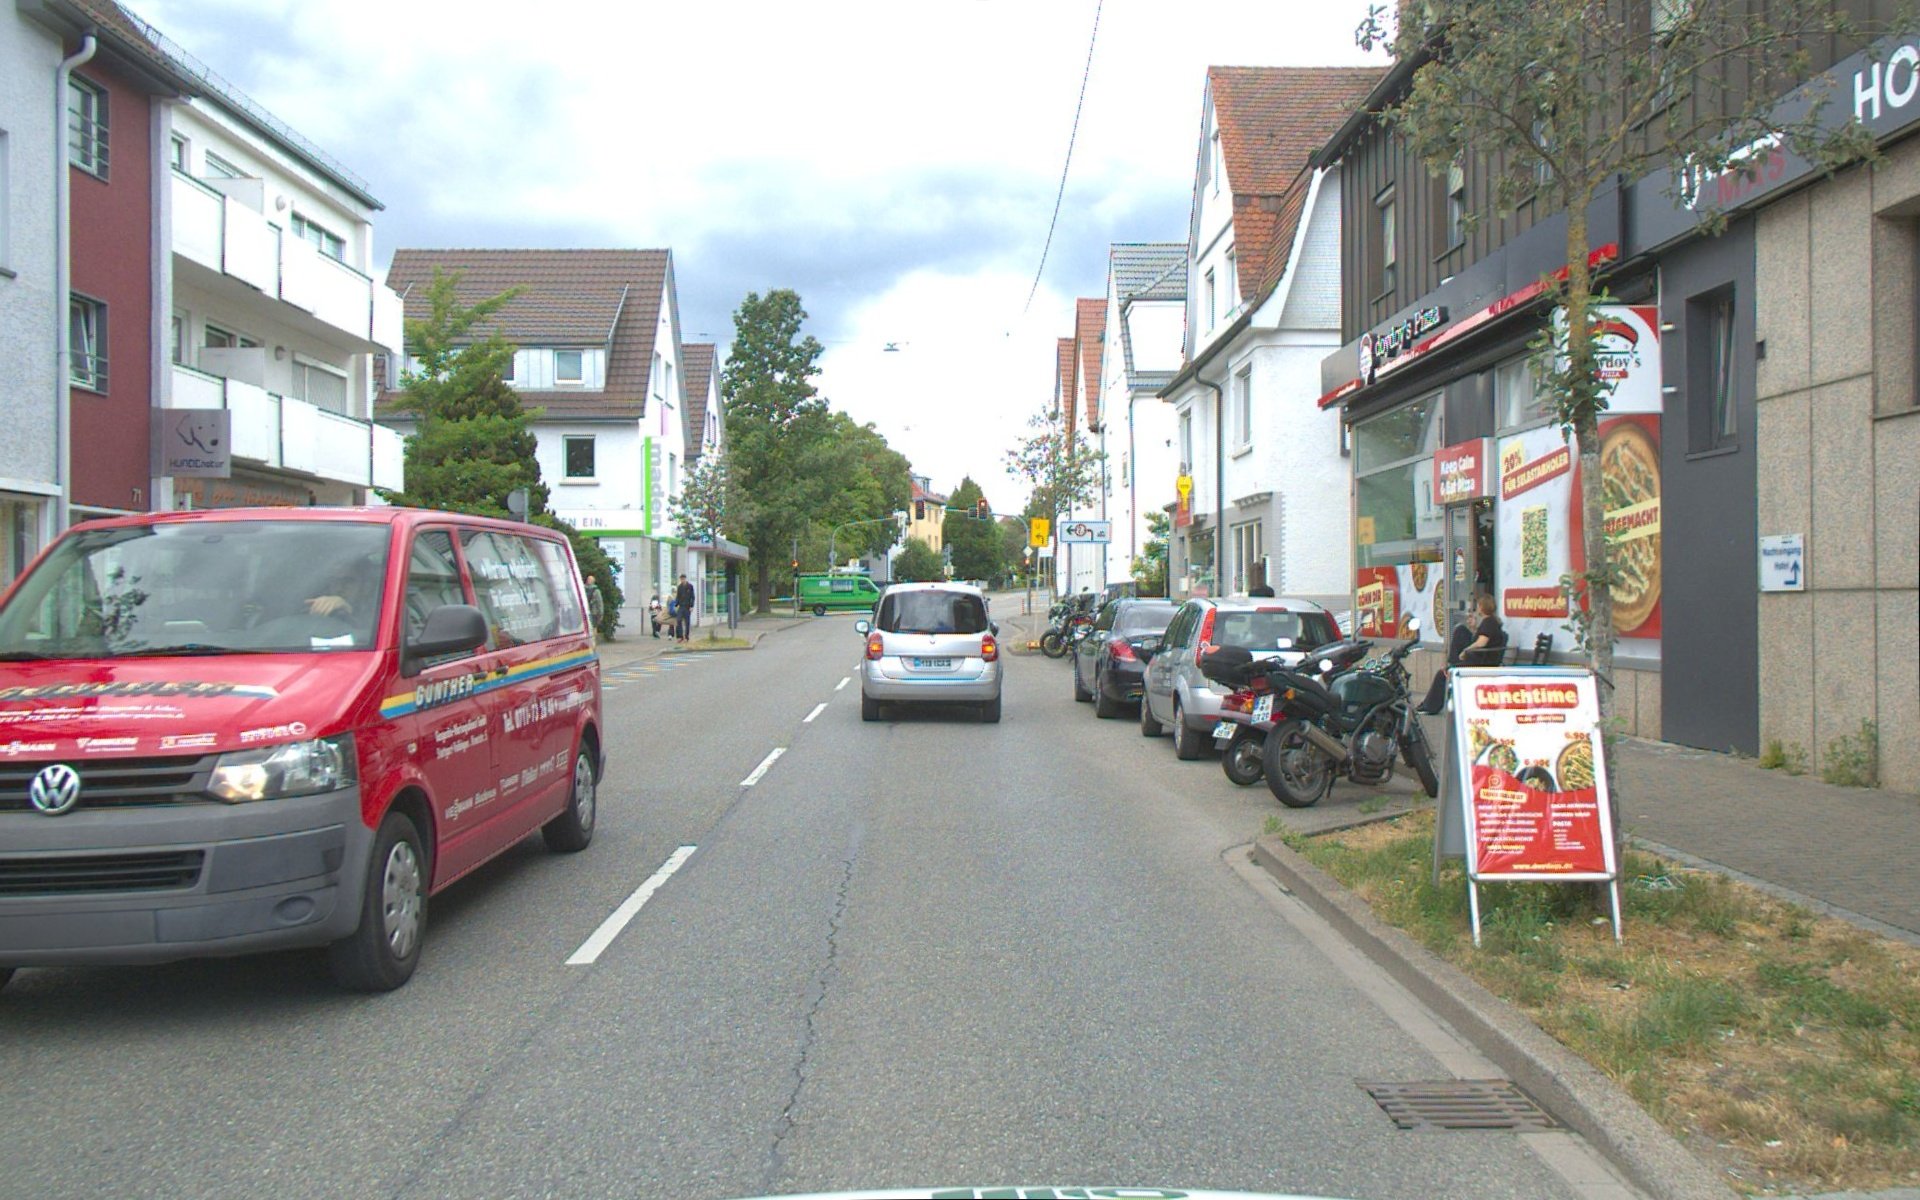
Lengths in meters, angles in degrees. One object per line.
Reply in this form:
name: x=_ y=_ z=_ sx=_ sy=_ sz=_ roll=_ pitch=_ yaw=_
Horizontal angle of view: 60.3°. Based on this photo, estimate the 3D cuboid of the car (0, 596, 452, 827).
car: x=-5.809 y=0.759 z=13.503 sx=1.909 sy=1.493 sz=4.515 roll=-3 pitch=0 yaw=-1

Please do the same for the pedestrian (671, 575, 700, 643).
pedestrian: x=-7.792 y=0.255 z=46.959 sx=0.702 sy=1.909 sz=0.695 roll=1 pitch=0 yaw=-1

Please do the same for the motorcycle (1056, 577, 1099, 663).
motorcycle: x=2.390 y=0.389 z=33.457 sx=0.683 sy=1.667 sz=2.411 roll=1 pitch=0 yaw=8

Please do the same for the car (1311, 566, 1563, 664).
car: x=8.287 y=0.257 z=28.937 sx=3.899 sy=1.593 sz=1.688 roll=1 pitch=0 yaw=-1

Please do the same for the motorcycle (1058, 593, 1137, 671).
motorcycle: x=2.664 y=0.595 z=31.762 sx=0.684 sy=1.434 sz=2.715 roll=0 pitch=0 yaw=23

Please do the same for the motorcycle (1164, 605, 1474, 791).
motorcycle: x=2.893 y=0.729 z=13.146 sx=2.680 sy=1.359 sz=0.692 roll=1 pitch=0 yaw=-32

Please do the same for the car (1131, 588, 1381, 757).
car: x=2.773 y=0.630 z=16.293 sx=1.666 sy=1.455 sz=3.889 roll=1 pitch=0 yaw=-1

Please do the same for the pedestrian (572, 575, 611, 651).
pedestrian: x=-8.938 y=0.313 z=40.147 sx=0.747 sy=1.822 sz=0.889 roll=1 pitch=0 yaw=-1

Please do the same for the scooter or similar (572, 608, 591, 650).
scooter or similar: x=-9.653 y=0.744 z=42.201 sx=0.366 sy=1.053 sz=0.559 roll=-1 pitch=0 yaw=-1

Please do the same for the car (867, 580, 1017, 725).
car: x=-0.212 y=0.583 z=20.450 sx=1.648 sy=1.593 sz=3.993 roll=1 pitch=0 yaw=0

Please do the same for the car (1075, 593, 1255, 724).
car: x=2.497 y=0.672 z=21.099 sx=1.666 sy=1.493 sz=4.237 roll=1 pitch=0 yaw=-1

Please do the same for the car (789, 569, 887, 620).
car: x=-7.383 y=-0.336 z=100.481 sx=5.811 sy=2.958 sz=2.253 roll=1 pitch=0 yaw=-3

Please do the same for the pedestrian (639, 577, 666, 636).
pedestrian: x=-9.290 y=0.195 z=49.970 sx=0.702 sy=1.787 sz=0.695 roll=1 pitch=0 yaw=-1

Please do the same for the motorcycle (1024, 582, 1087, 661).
motorcycle: x=2.069 y=0.452 z=36.138 sx=0.686 sy=1.667 sz=2.400 roll=1 pitch=0 yaw=-14

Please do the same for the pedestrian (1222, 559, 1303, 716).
pedestrian: x=3.853 y=0.469 z=21.124 sx=0.839 sy=1.961 sz=0.899 roll=1 pitch=0 yaw=-1

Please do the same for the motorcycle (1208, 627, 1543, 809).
motorcycle: x=3.083 y=0.809 z=12.105 sx=2.701 sy=1.204 sz=0.692 roll=1 pitch=0 yaw=-32

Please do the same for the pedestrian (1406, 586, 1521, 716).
pedestrian: x=5.496 y=0.543 z=18.097 sx=0.869 sy=1.322 sz=0.966 roll=-4 pitch=0 yaw=-1

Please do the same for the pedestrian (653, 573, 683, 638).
pedestrian: x=-8.708 y=0.163 z=49.308 sx=0.746 sy=1.909 sz=0.695 roll=1 pitch=0 yaw=-1

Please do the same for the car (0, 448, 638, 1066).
car: x=-3.057 y=0.535 z=8.086 sx=1.909 sy=1.996 sz=5.222 roll=-2 pitch=0 yaw=-1
